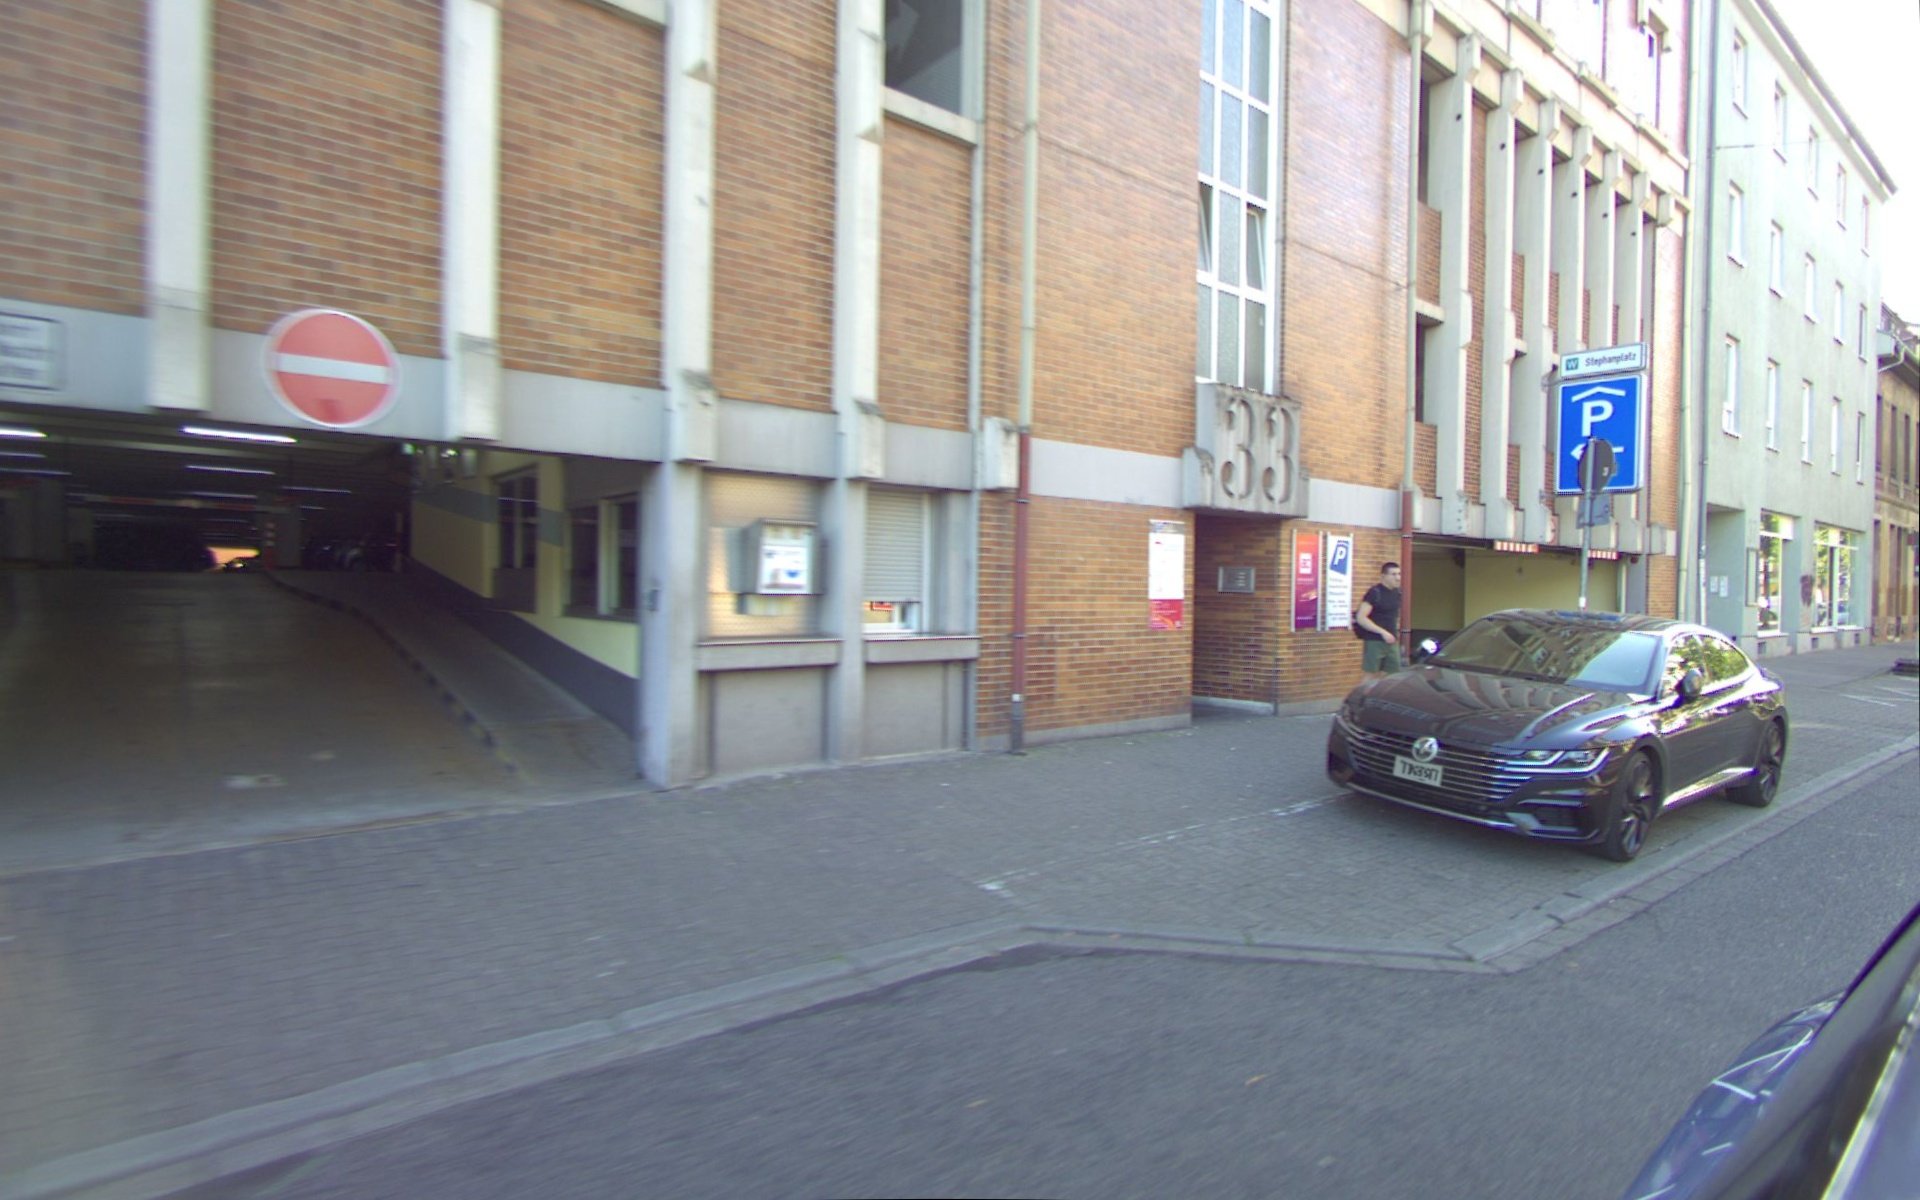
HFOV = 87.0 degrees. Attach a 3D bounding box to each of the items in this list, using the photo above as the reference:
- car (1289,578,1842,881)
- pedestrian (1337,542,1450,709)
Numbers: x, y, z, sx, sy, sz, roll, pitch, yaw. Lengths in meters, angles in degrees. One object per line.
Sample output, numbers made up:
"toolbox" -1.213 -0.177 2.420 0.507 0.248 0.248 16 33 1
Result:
"car" 4.781 0.686 7.658 4.874 1.496 1.923 0 4 -39
"pedestrian" 4.568 0.245 10.662 0.873 1.655 0.693 1 2 -39
